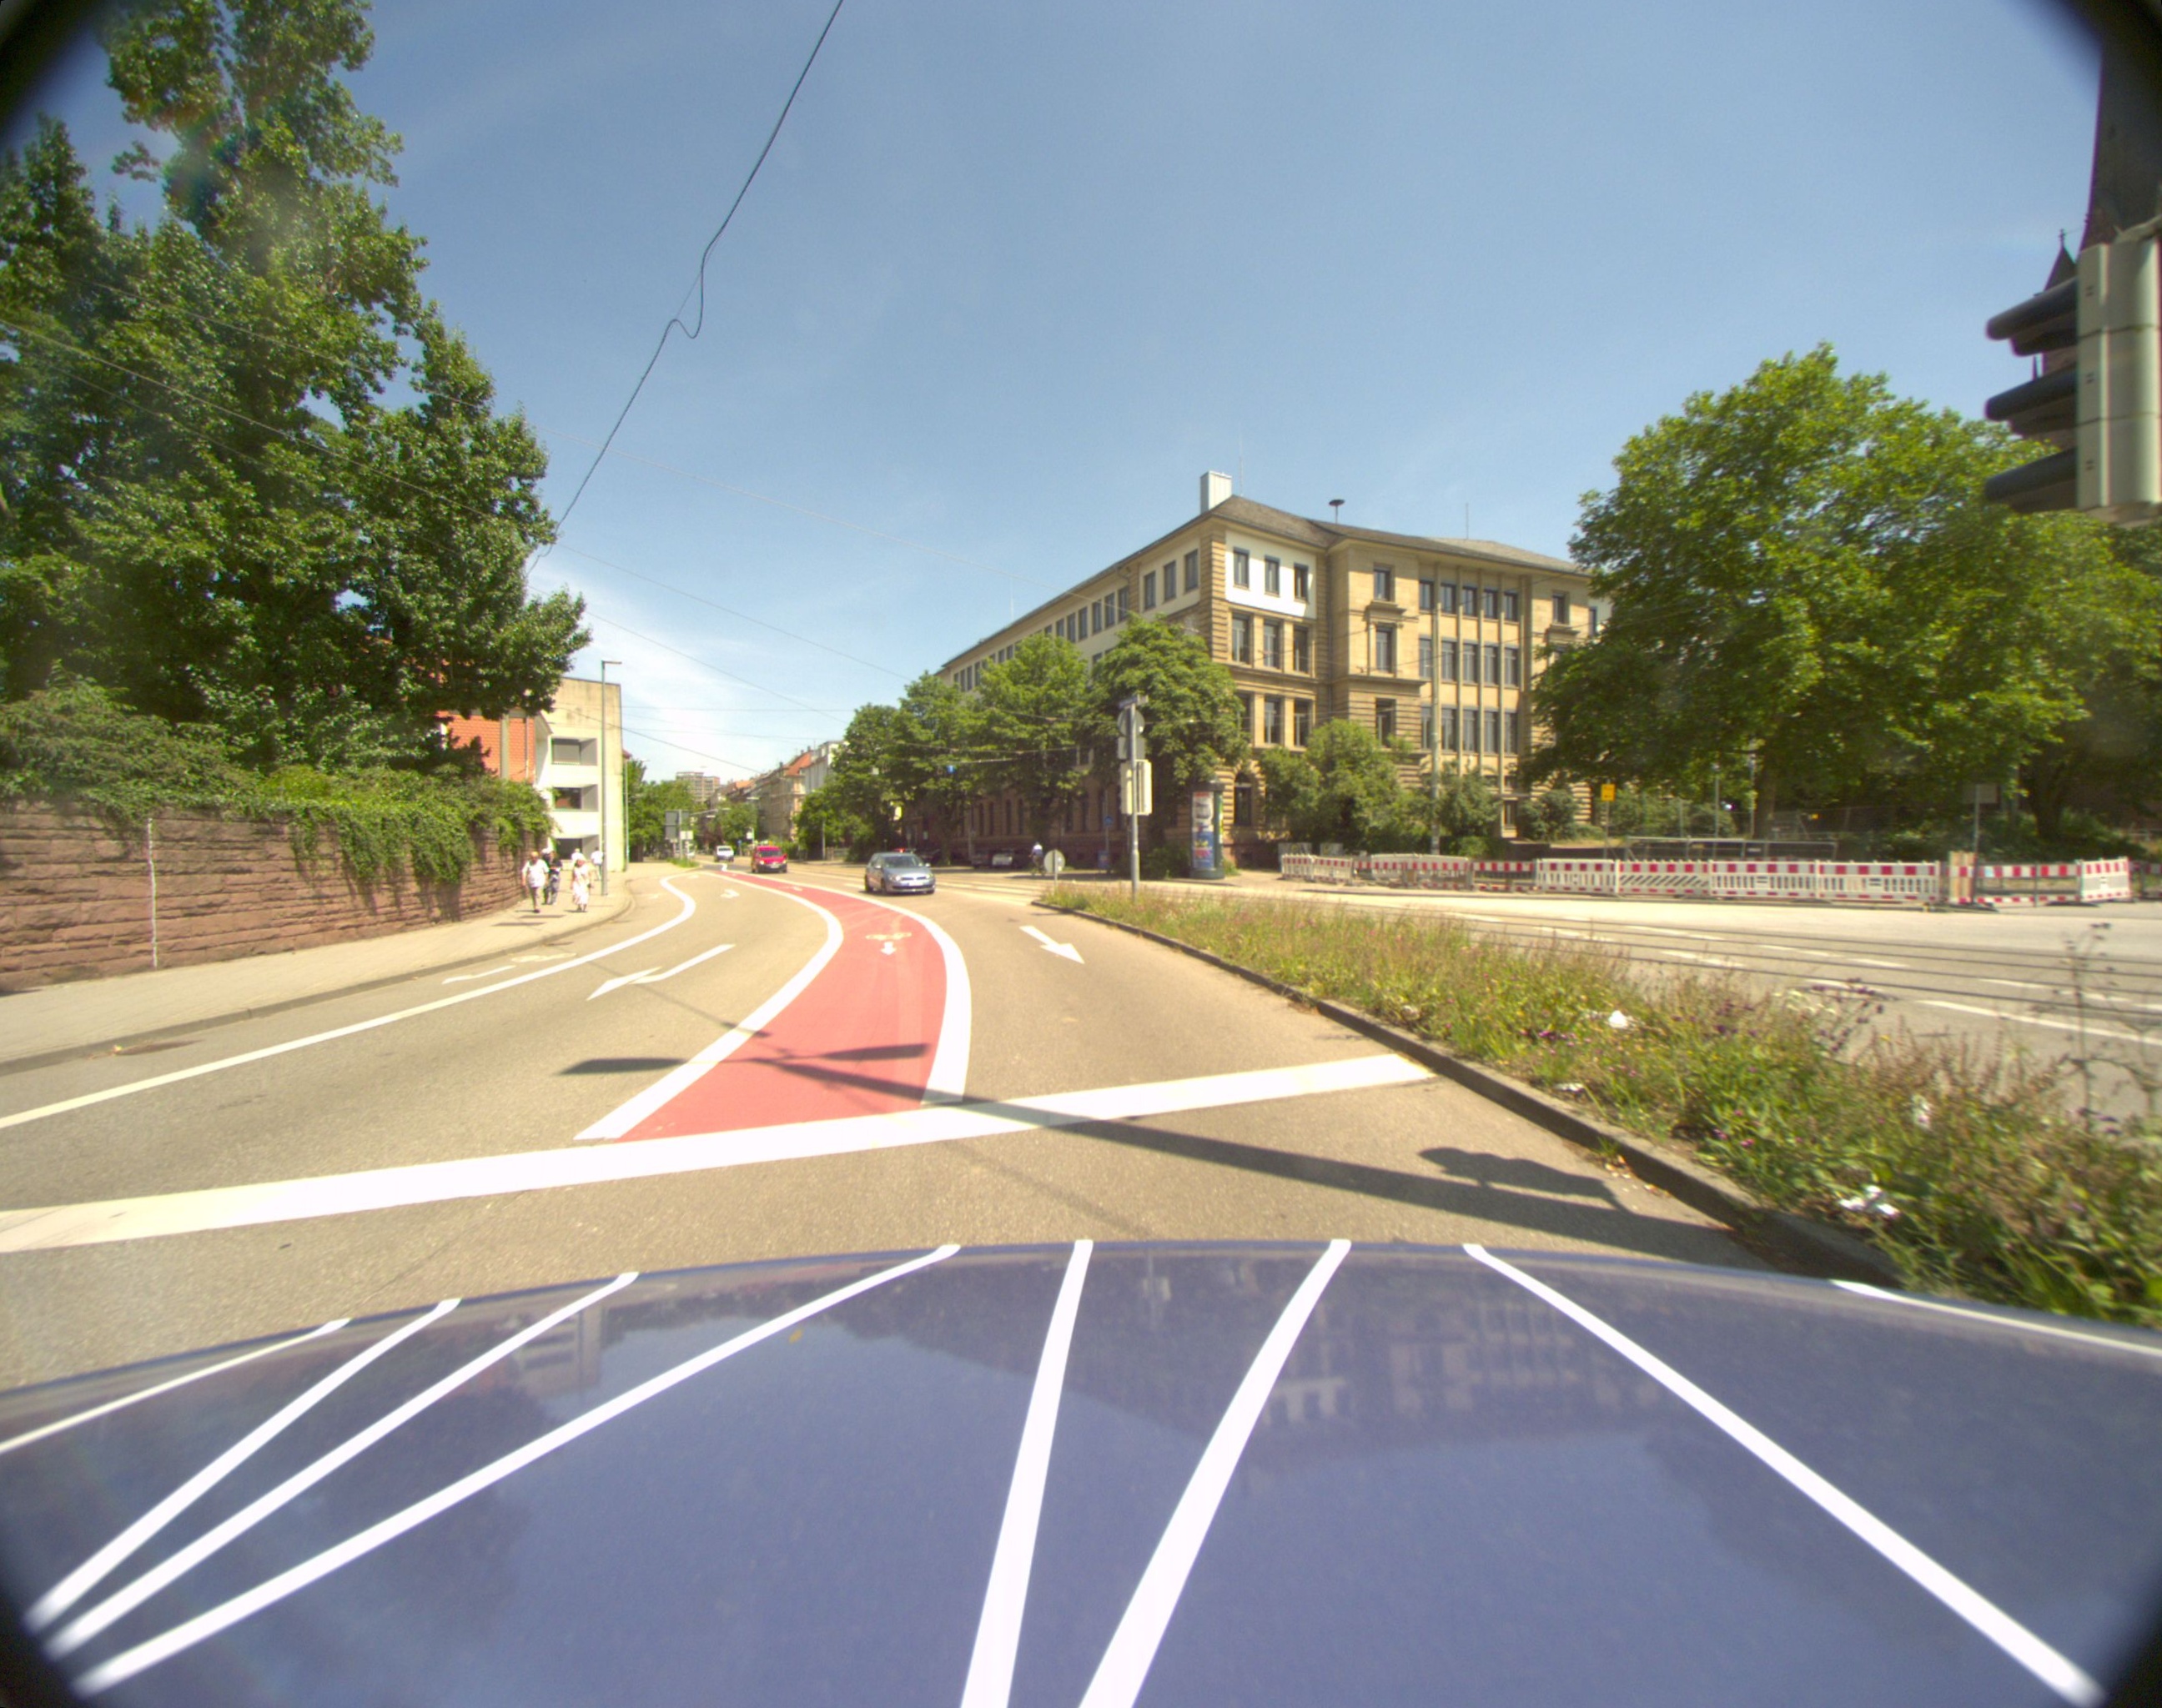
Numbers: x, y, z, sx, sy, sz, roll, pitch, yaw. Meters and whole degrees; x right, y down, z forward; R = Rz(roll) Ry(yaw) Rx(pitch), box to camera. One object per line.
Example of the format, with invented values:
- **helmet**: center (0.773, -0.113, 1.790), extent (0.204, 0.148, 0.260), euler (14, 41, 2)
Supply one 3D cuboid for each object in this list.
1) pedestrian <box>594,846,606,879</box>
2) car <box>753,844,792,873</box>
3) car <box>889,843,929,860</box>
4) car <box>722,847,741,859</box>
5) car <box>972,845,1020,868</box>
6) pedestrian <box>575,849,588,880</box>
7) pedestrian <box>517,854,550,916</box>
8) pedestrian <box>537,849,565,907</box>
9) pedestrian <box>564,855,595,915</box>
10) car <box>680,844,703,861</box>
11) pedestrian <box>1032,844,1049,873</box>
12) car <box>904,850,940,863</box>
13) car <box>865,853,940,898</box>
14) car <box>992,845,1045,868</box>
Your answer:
- **pedestrian**: center (-25.102, 0.449, 39.653), extent (0.490, 1.702, 0.520), euler (1, -1, -29)
- **car**: center (-20.384, 0.284, 50.144), extent (1.836, 1.756, 4.269), euler (-3, 1, -28)
- **car**: center (-16.432, -0.211, 72.773), extent (1.611, 1.444, 3.585), euler (-2, 1, 31)
- **car**: center (-42.693, -0.174, 92.812), extent (1.836, 1.384, 4.269), euler (-1, 1, -28)
- **car**: center (-6.174, 0.178, 55.273), extent (1.567, 1.454, 3.156), euler (-2, 1, 41)
- **pedestrian**: center (-25.833, 0.542, 39.267), extent (0.490, 1.596, 0.557), euler (1, -1, -29)
- **pedestrian**: center (-14.547, 0.819, 20.187), extent (0.606, 1.601, 0.557), euler (1, -1, -28)
- **pedestrian**: center (-15.913, 0.712, 22.819), extent (0.606, 1.702, 0.557), euler (1, -1, -29)
- **pedestrian**: center (-13.608, 0.831, 20.629), extent (0.606, 1.601, 0.557), euler (1, -1, -28)
- **car**: center (-38.930, -0.169, 75.963), extent (1.821, 1.698, 3.990), euler (-1, 1, -30)
- **pedestrian**: center (-2.293, 0.249, 42.899), extent (0.725, 1.661, 0.642), euler (-1, 1, -26)
- **car**: center (-14.481, 0.228, 69.261), extent (1.277, 1.093, 2.995), euler (-2, 1, 41)
- **car**: center (-6.434, 0.695, 27.033), extent (1.836, 1.406, 3.985), euler (-2, 1, -24)
- **car**: center (-4.355, 0.178, 53.163), extent (1.567, 1.412, 3.559), euler (-2, 1, 43)
